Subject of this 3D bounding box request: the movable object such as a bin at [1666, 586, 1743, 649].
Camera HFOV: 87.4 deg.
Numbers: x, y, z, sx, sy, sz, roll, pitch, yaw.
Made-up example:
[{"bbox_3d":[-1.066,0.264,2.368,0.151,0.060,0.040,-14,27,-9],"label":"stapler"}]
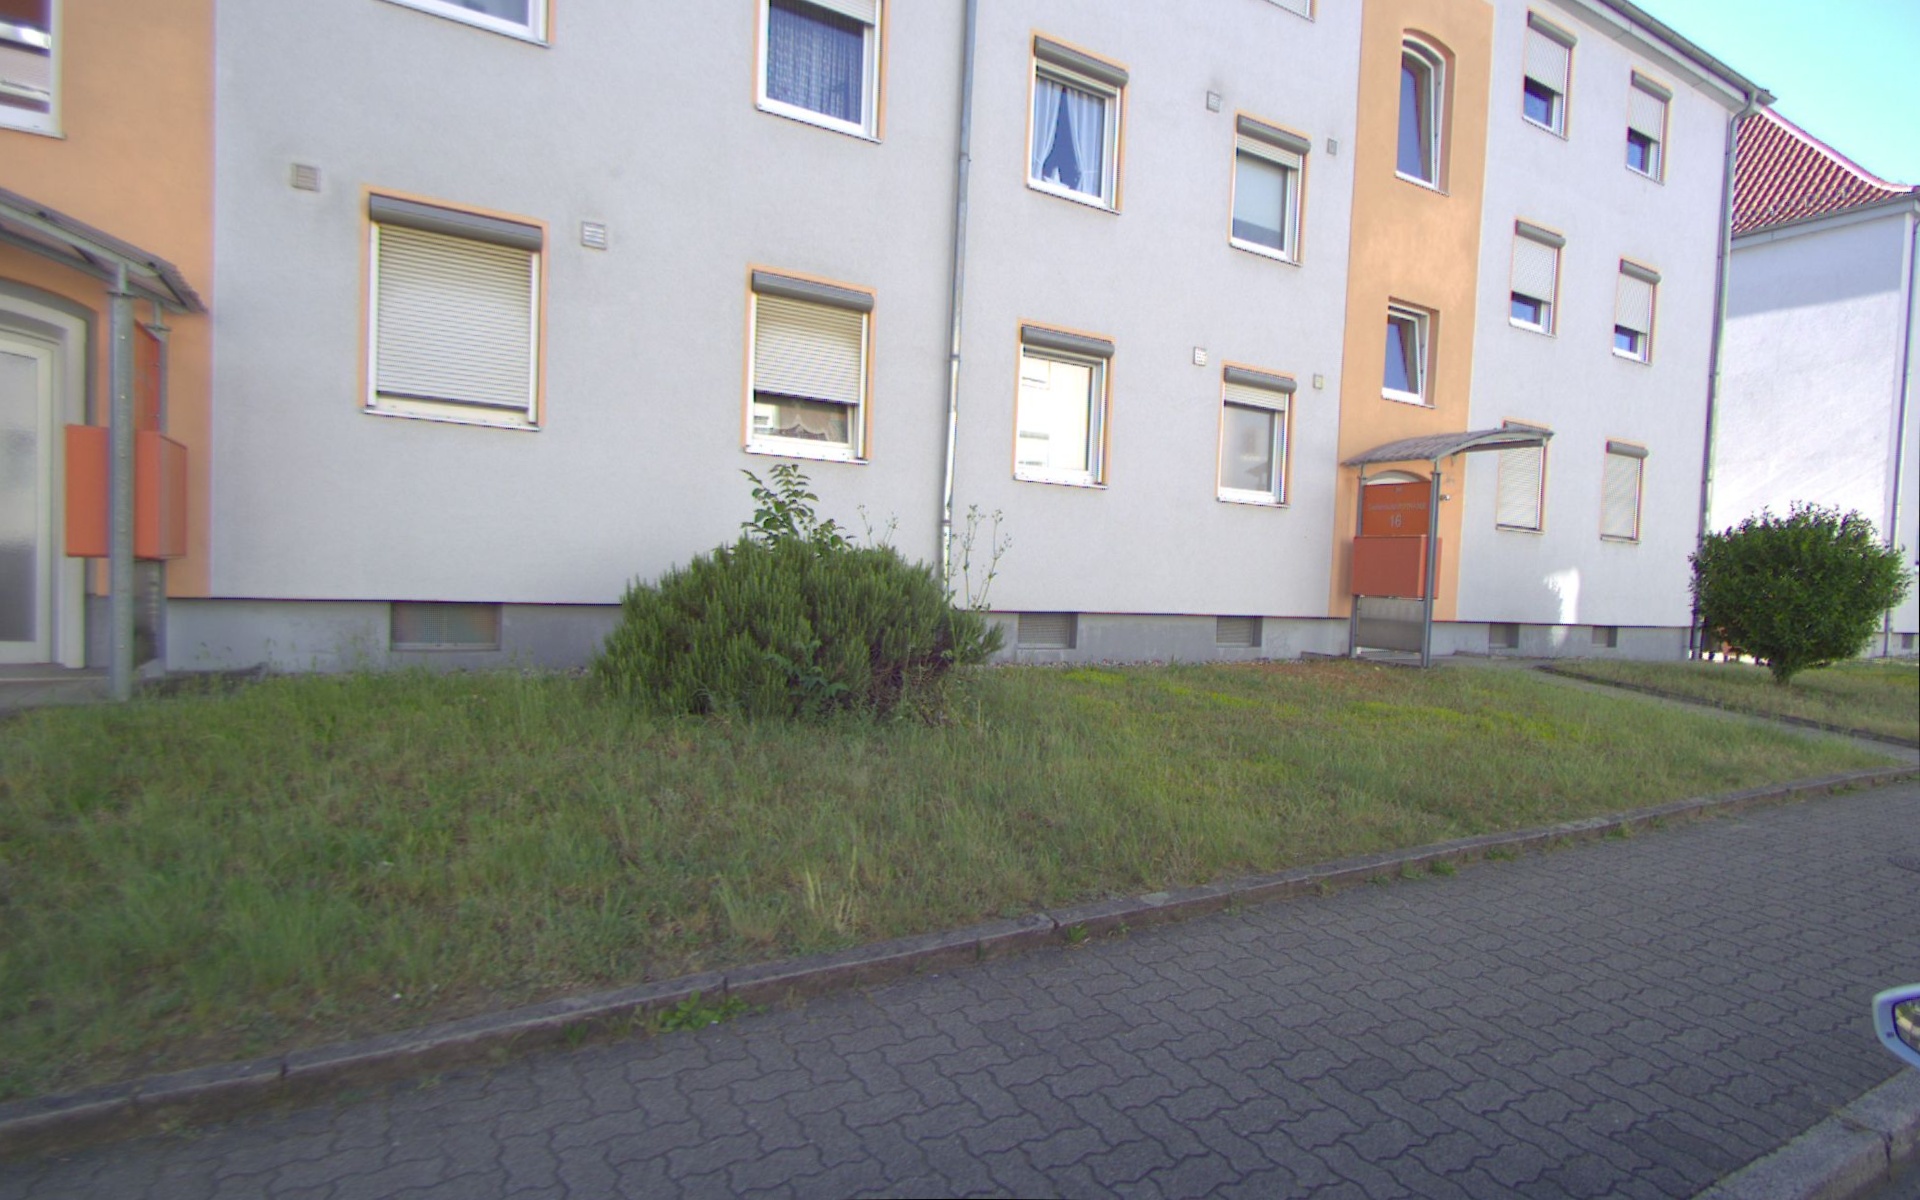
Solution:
[{"bbox_3d":[17.166,0.390,23.171,0.899,1.375,1.238,0,2,-41],"label":"movable object such as a bin"}]
